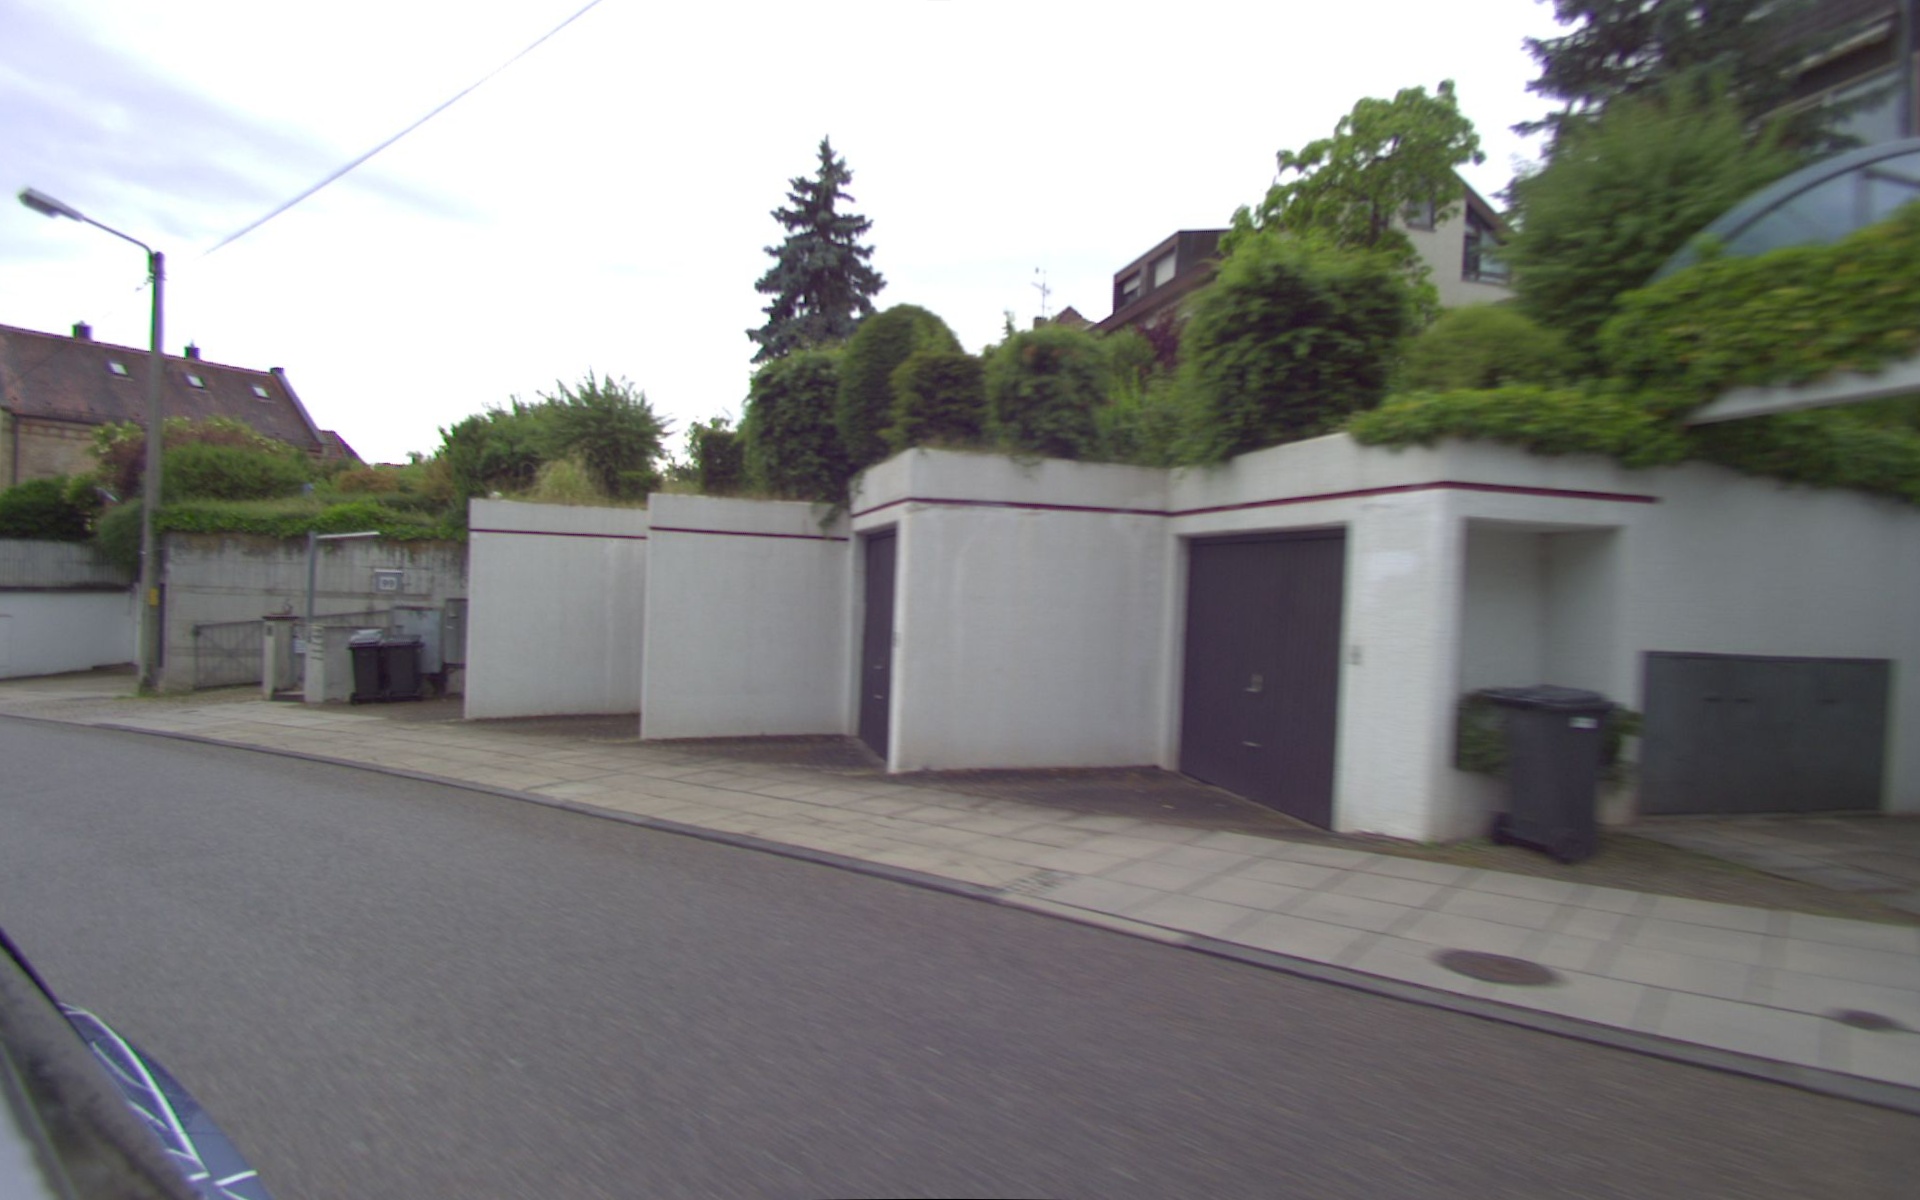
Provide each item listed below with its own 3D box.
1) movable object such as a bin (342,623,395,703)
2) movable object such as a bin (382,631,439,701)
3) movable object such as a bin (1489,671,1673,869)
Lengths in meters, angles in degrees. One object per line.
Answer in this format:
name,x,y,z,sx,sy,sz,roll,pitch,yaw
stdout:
movable object such as a bin,-8.958,0.943,15.353,0.520,1.155,0.603,-1,1,-13
movable object such as a bin,-8.387,0.992,15.477,0.599,0.999,0.603,-2,0,-13
movable object such as a bin,3.433,0.909,5.628,0.535,0.970,0.648,-1,-1,-18
